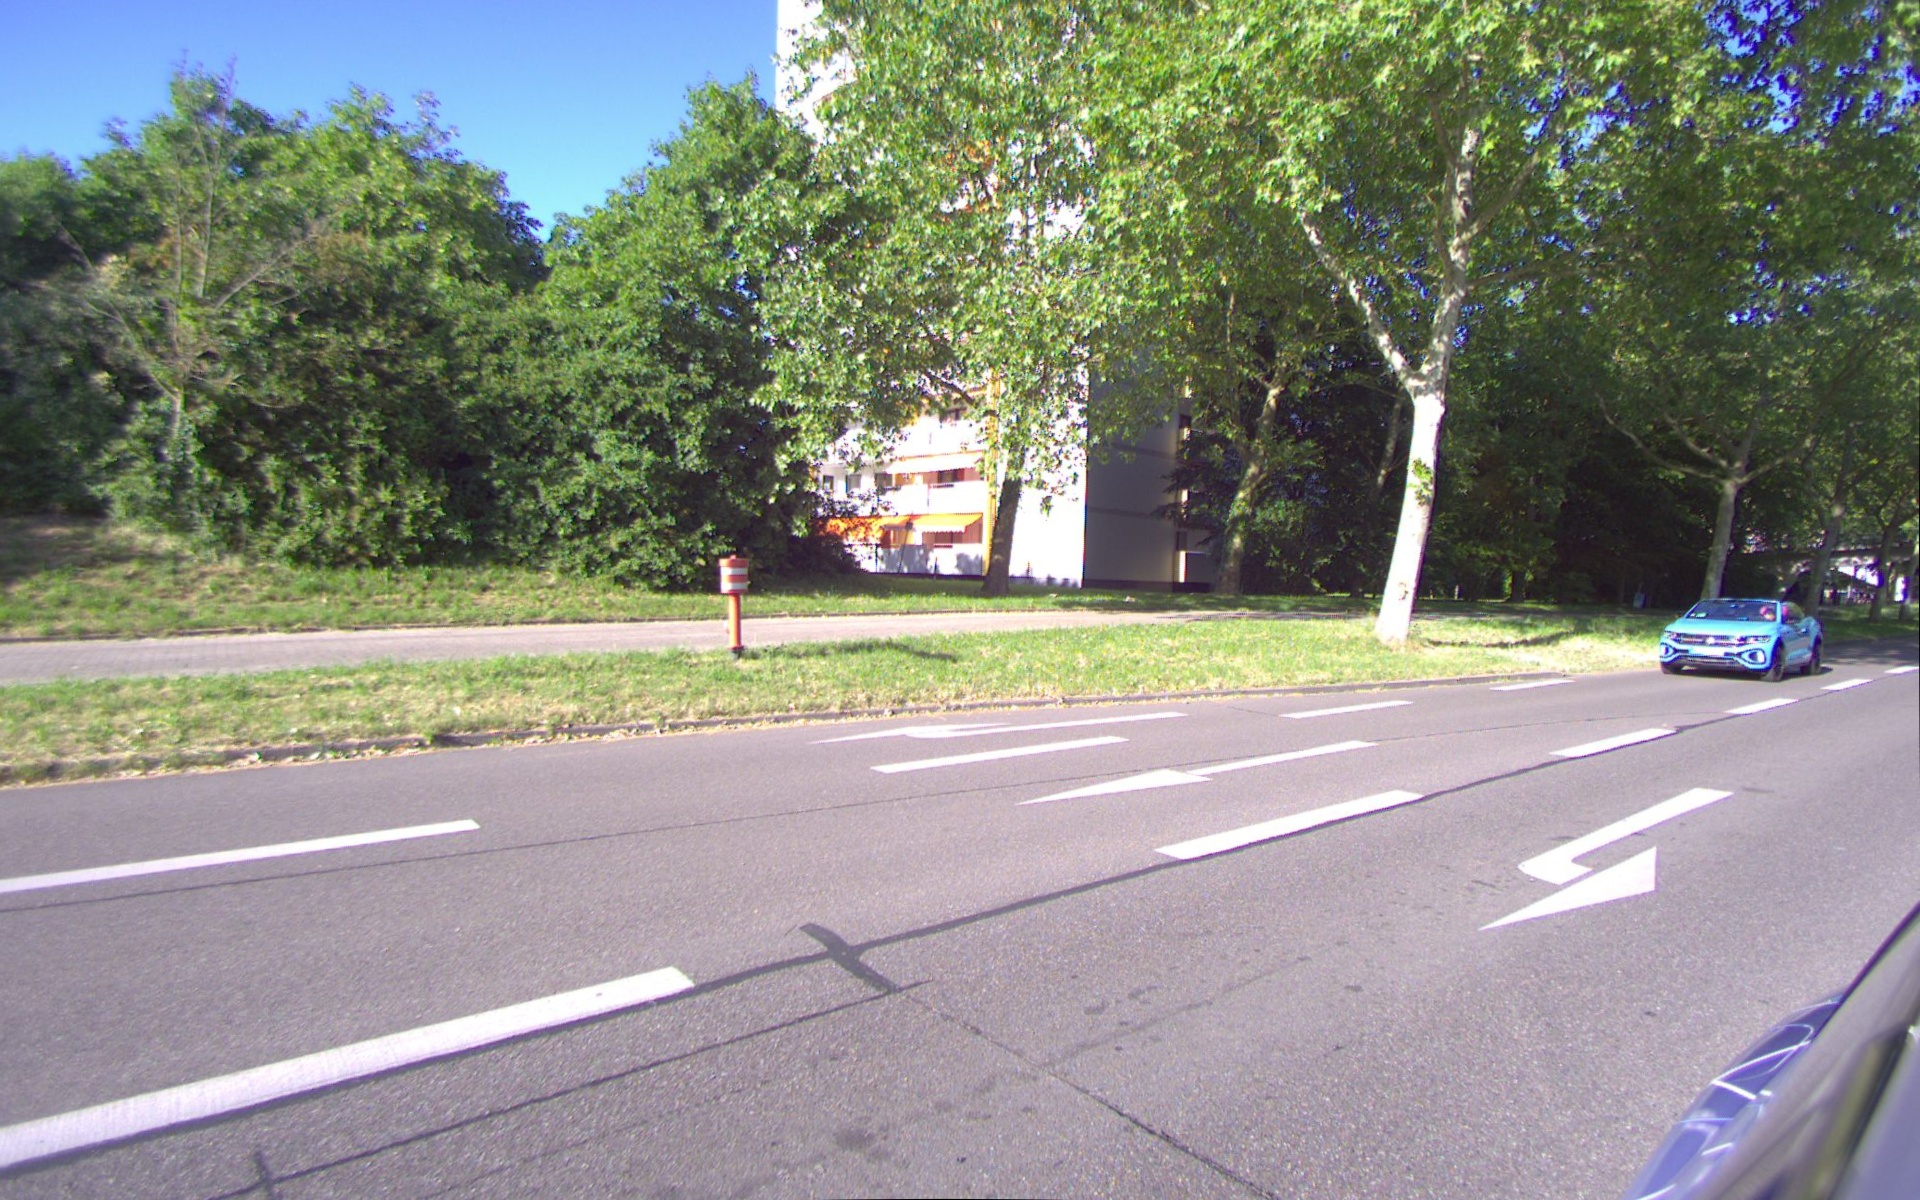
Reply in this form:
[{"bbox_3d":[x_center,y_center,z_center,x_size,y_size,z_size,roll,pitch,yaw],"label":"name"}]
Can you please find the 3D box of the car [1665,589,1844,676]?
[{"bbox_3d":[15.263,0.547,19.377,4.055,1.468,1.739,0,1,-37],"label":"car"}]
